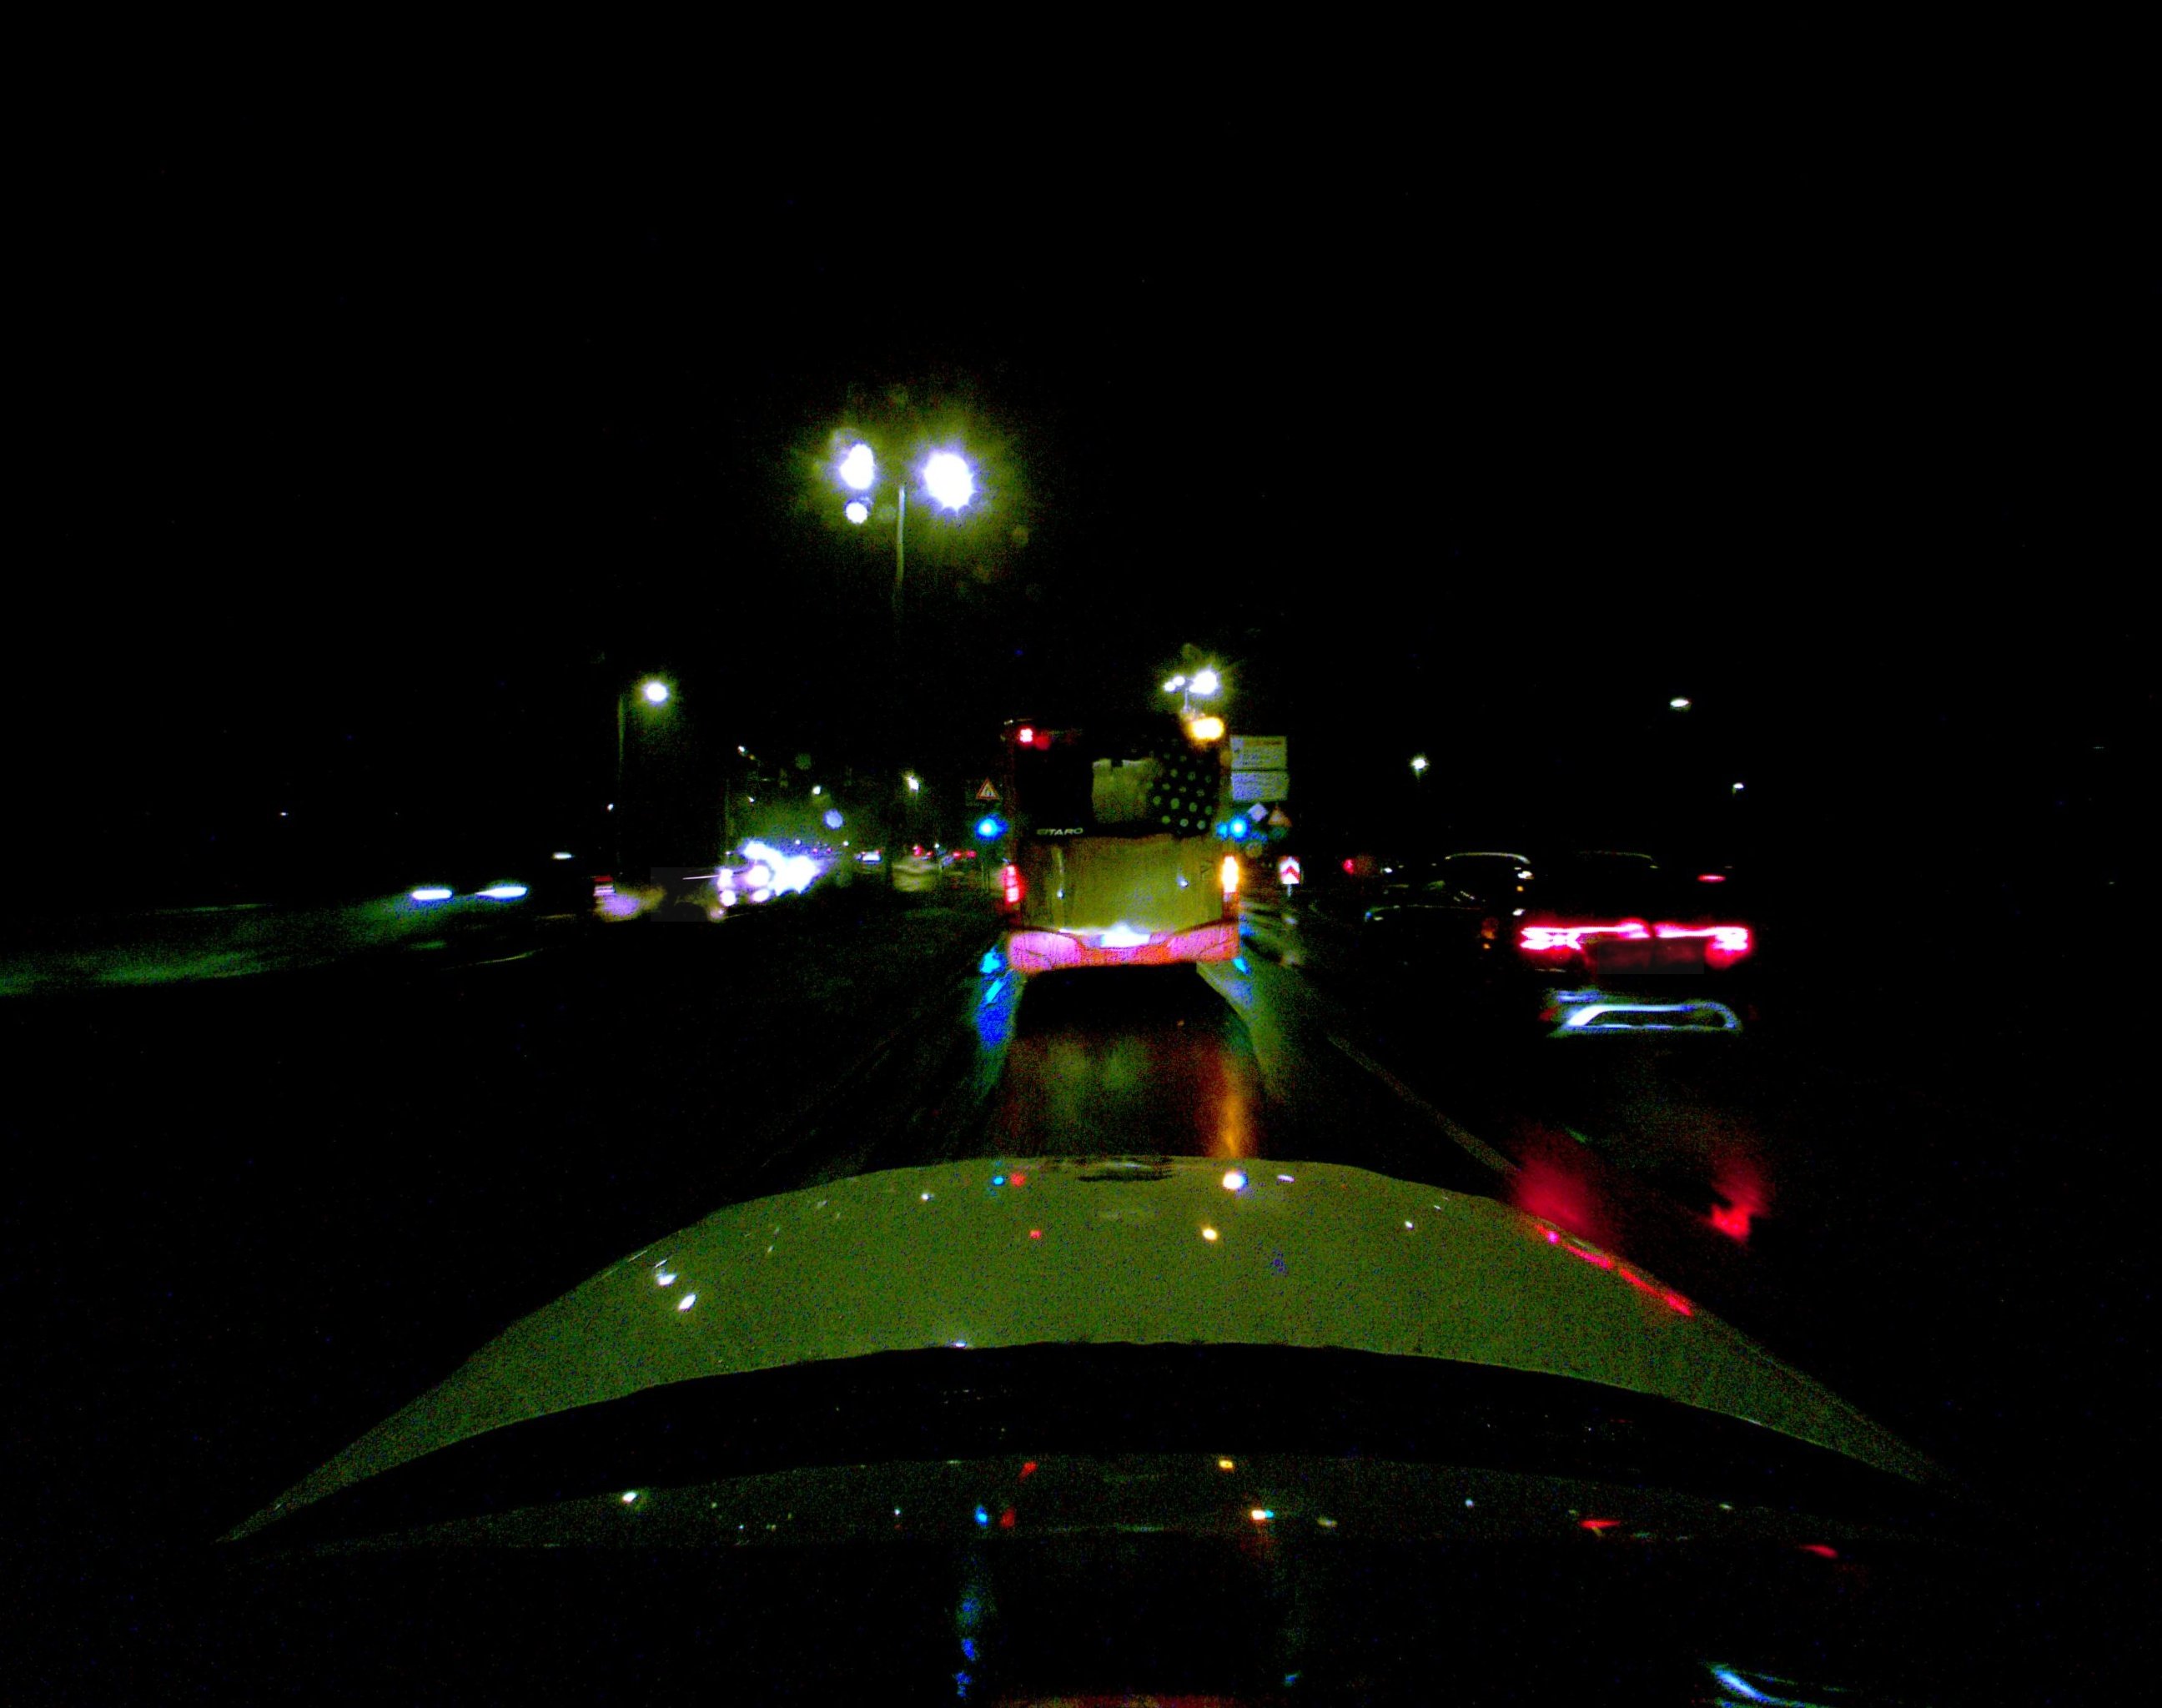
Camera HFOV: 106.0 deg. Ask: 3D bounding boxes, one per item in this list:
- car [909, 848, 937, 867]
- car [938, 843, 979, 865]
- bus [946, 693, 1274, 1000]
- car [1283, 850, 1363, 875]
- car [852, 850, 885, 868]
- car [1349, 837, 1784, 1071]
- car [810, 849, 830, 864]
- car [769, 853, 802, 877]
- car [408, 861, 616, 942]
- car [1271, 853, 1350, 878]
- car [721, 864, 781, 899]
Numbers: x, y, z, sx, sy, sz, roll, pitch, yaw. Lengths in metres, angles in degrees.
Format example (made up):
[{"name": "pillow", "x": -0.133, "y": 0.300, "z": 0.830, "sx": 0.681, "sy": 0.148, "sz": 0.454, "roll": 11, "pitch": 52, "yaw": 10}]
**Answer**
[{"name": "car", "x": -14.381, "y": 0.319, "z": 74.197, "sx": 1.823, "sy": 1.618, "sz": 3.971, "roll": 1, "pitch": -1, "yaw": -21}, {"name": "car", "x": -9.203, "y": 0.031, "z": 61.073, "sx": 1.826, "sy": 1.618, "sz": 3.963, "roll": 1, "pitch": -1, "yaw": -28}, {"name": "bus", "x": 0.242, "y": -0.151, "z": 13.008, "sx": 3.275, "sy": 3.050, "sz": 9.540, "roll": -1, "pitch": 1, "yaw": -1}, {"name": "car", "x": 15.261, "y": 0.522, "z": 51.428, "sx": 4.473, "sy": 1.519, "sz": 1.855, "roll": 1, "pitch": 1, "yaw": -4}, {"name": "car", "x": -21.327, "y": 0.491, "z": 81.715, "sx": 2.102, "sy": 1.644, "sz": 3.693, "roll": 4, "pitch": -2, "yaw": -31}, {"name": "car", "x": 3.843, "y": 0.685, "z": 7.344, "sx": 1.671, "sy": 1.521, "sz": 3.962, "roll": 0, "pitch": -1, "yaw": 2}, {"name": "car", "x": -30.980, "y": 0.349, "z": 96.547, "sx": 2.000, "sy": 1.721, "sz": 3.972, "roll": 1, "pitch": -1, "yaw": -21}, {"name": "car", "x": -19.896, "y": 0.735, "z": 55.027, "sx": 1.794, "sy": 1.456, "sz": 4.551, "roll": -3, "pitch": 1, "yaw": -17}, {"name": "car", "x": -12.779, "y": 0.973, "z": 18.704, "sx": 1.771, "sy": 1.593, "sz": 4.554, "roll": -1, "pitch": -1, "yaw": -4}, {"name": "car", "x": 13.226, "y": 0.667, "z": 47.025, "sx": 4.034, "sy": 1.345, "sz": 1.745, "roll": 1, "pitch": 1, "yaw": -4}, {"name": "car", "x": -15.389, "y": 1.251, "z": 38.189, "sx": 1.734, "sy": 1.495, "sz": 3.927, "roll": -3, "pitch": 0, "yaw": -10}]
